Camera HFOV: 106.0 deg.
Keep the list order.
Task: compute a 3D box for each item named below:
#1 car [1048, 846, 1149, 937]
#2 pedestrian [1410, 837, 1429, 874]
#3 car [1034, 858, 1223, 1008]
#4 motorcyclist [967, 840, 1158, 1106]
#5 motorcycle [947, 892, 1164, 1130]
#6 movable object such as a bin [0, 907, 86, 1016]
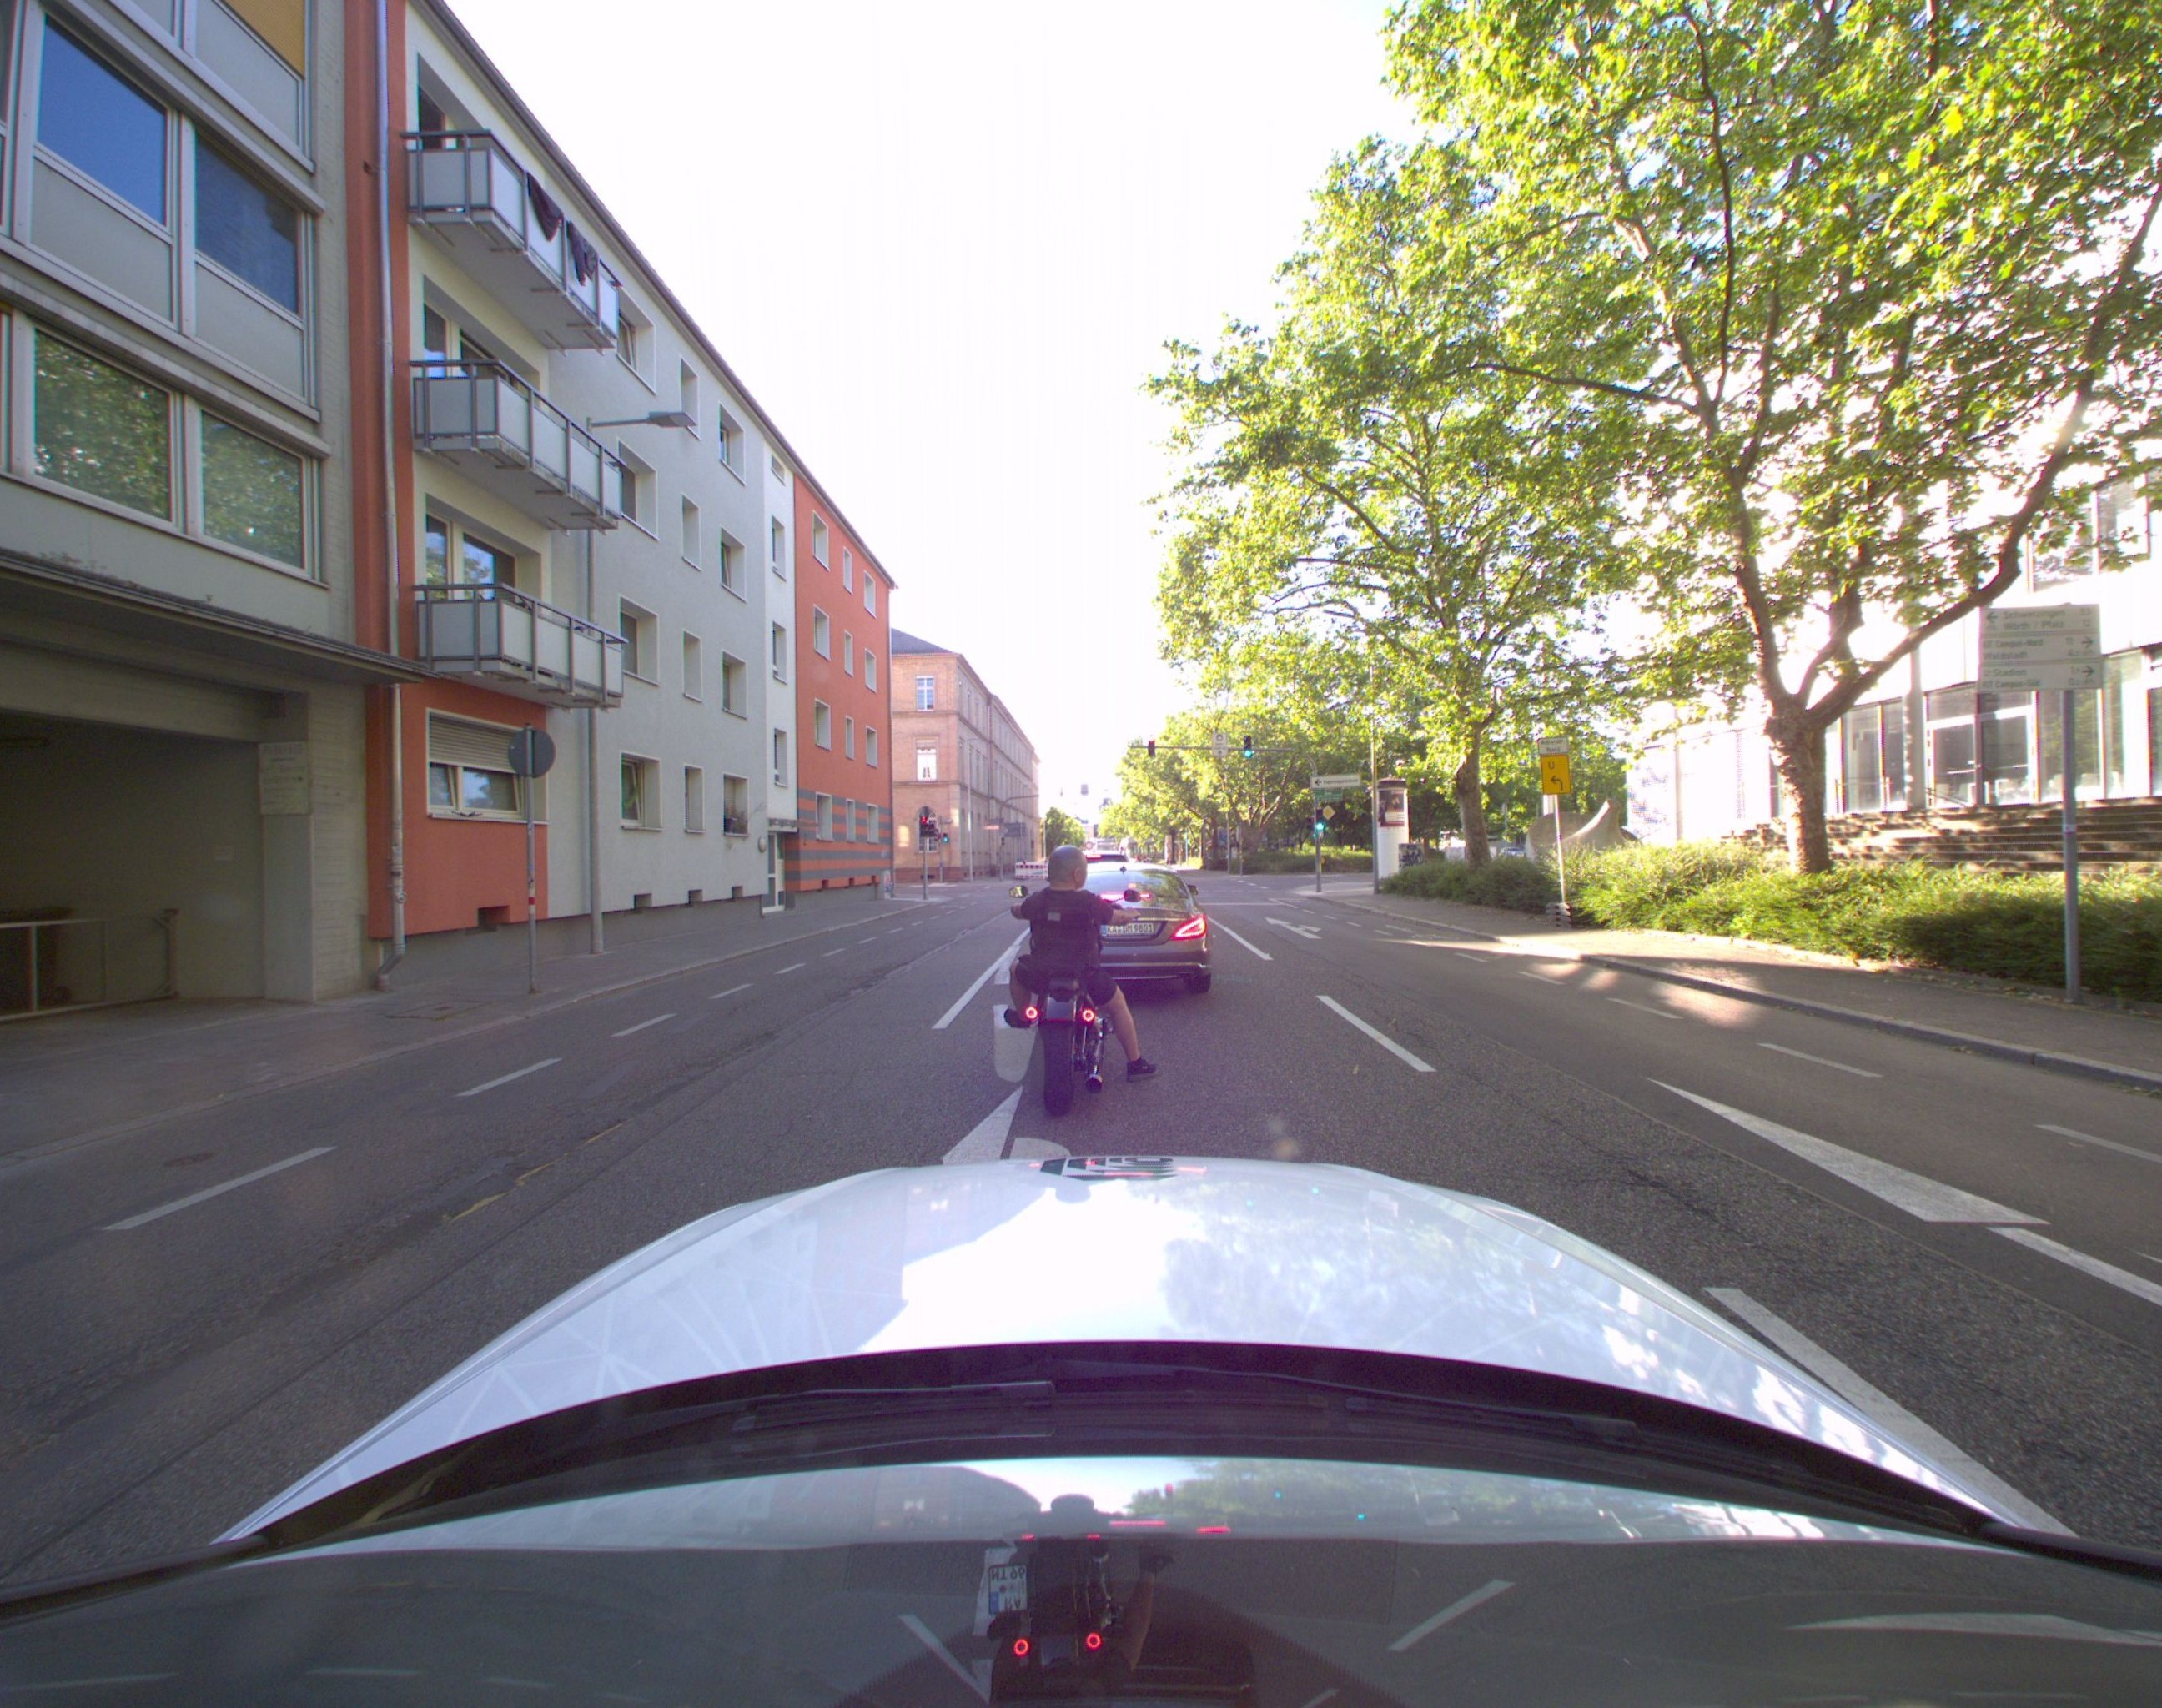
[{"bbox_3d":[0.381,0.712,17.065,1.856,1.678,4.001,0,-1,2],"label":"car"},{"bbox_3d":[16.481,0.091,39.661,0.731,1.778,0.732,-1,-1,12],"label":"pedestrian"},{"bbox_3d":[0.520,0.781,9.777,1.815,1.437,3.807,0,-1,2],"label":"car"},{"bbox_3d":[-0.070,0.707,5.401,1.093,1.566,1.074,-1,-1,8],"label":"motorcyclist"},{"bbox_3d":[-0.042,0.914,5.620,1.111,1.207,2.217,-1,-1,8],"label":"motorcycle"},{"bbox_3d":[-11.284,1.121,8.645,0.533,1.079,0.723,0,-1,3],"label":"movable object such as a bin"}]
